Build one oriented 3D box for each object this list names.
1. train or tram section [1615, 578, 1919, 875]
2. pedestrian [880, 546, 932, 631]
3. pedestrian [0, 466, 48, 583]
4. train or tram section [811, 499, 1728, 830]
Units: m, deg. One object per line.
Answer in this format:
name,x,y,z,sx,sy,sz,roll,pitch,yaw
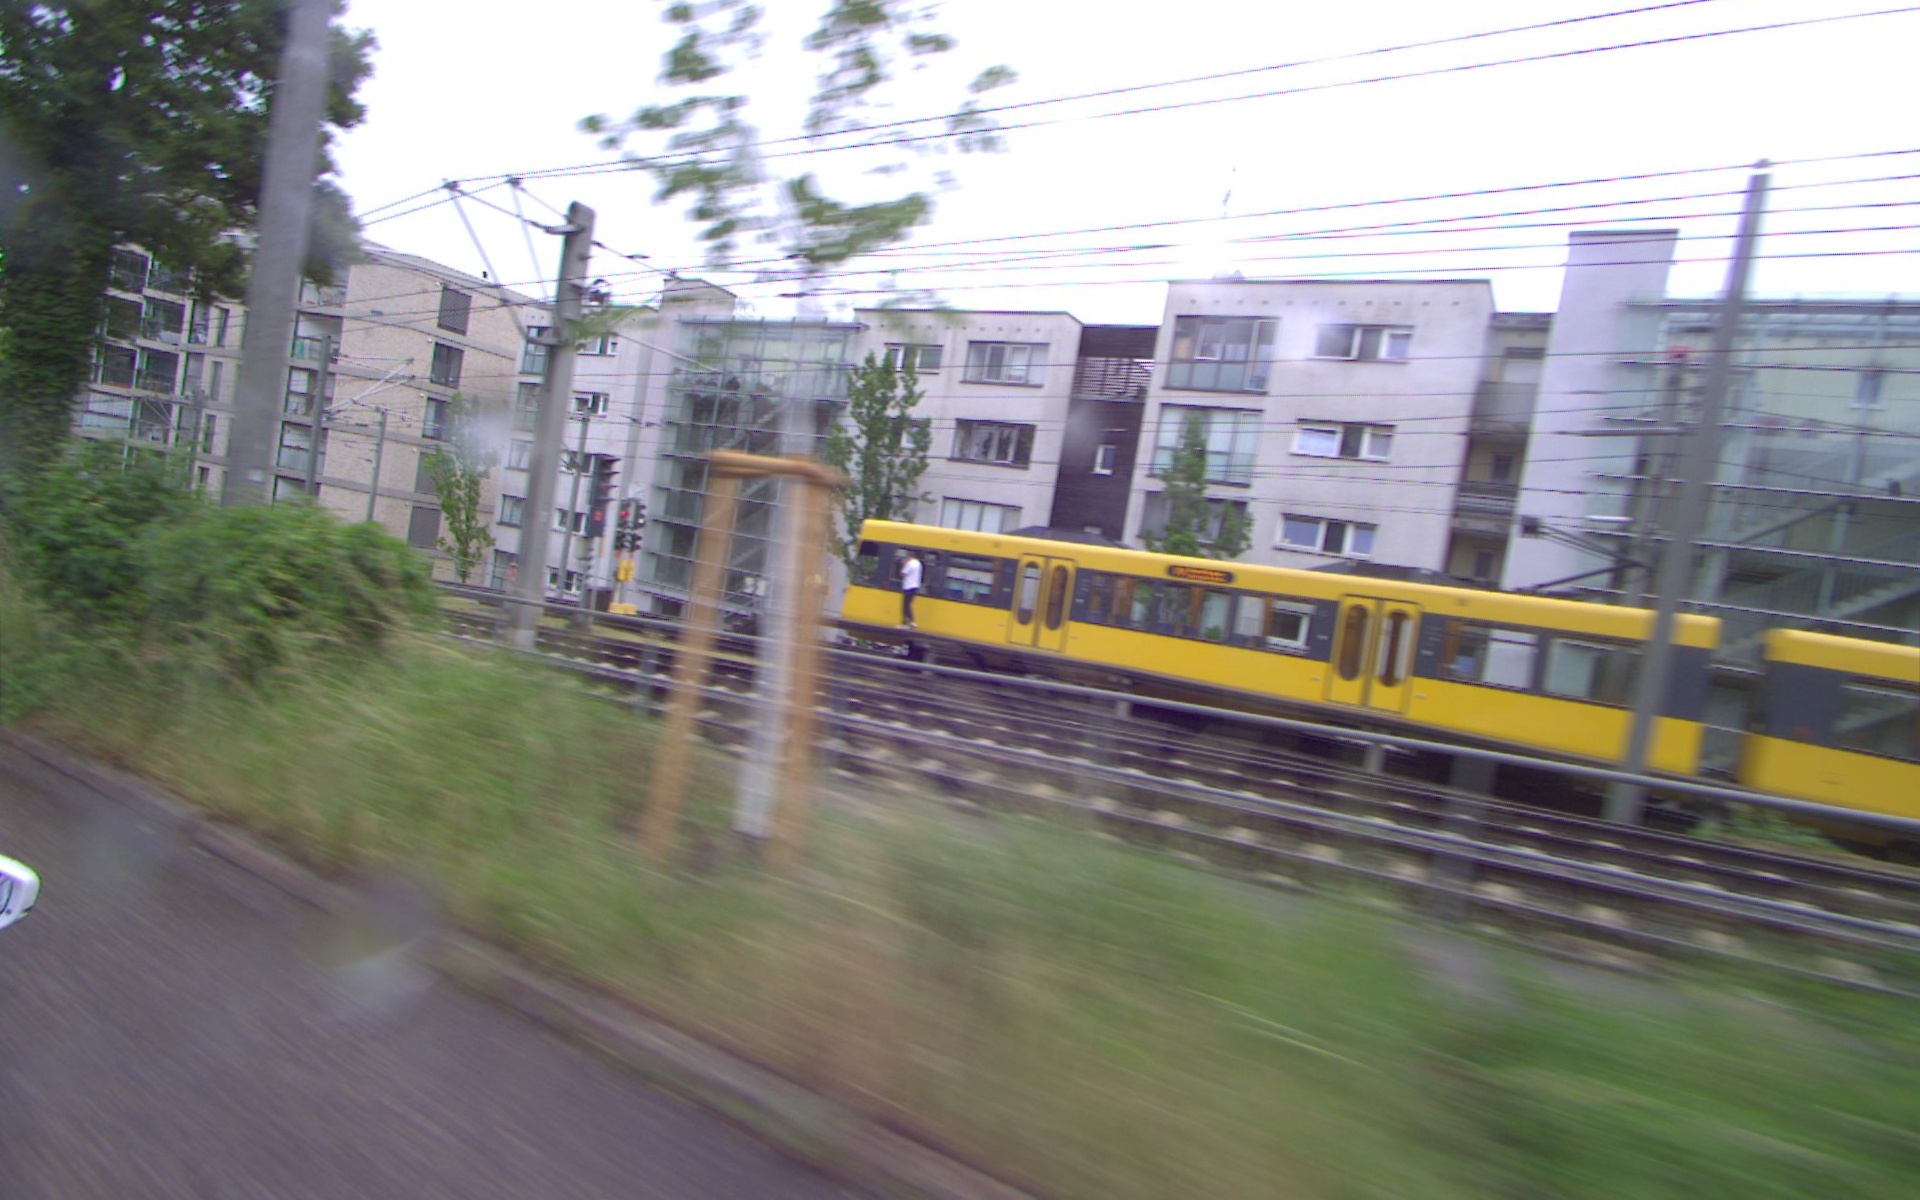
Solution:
train or tram section,20.016,2.779,12.954,18.961,3.996,3.334,7,0,32
pedestrian,-1.291,-0.272,23.955,0.804,1.903,0.722,6,0,32
pedestrian,-14.470,-1.151,15.372,0.516,1.708,0.563,7,1,31
train or tram section,5.054,0.671,22.407,18.499,3.996,3.334,9,1,32
